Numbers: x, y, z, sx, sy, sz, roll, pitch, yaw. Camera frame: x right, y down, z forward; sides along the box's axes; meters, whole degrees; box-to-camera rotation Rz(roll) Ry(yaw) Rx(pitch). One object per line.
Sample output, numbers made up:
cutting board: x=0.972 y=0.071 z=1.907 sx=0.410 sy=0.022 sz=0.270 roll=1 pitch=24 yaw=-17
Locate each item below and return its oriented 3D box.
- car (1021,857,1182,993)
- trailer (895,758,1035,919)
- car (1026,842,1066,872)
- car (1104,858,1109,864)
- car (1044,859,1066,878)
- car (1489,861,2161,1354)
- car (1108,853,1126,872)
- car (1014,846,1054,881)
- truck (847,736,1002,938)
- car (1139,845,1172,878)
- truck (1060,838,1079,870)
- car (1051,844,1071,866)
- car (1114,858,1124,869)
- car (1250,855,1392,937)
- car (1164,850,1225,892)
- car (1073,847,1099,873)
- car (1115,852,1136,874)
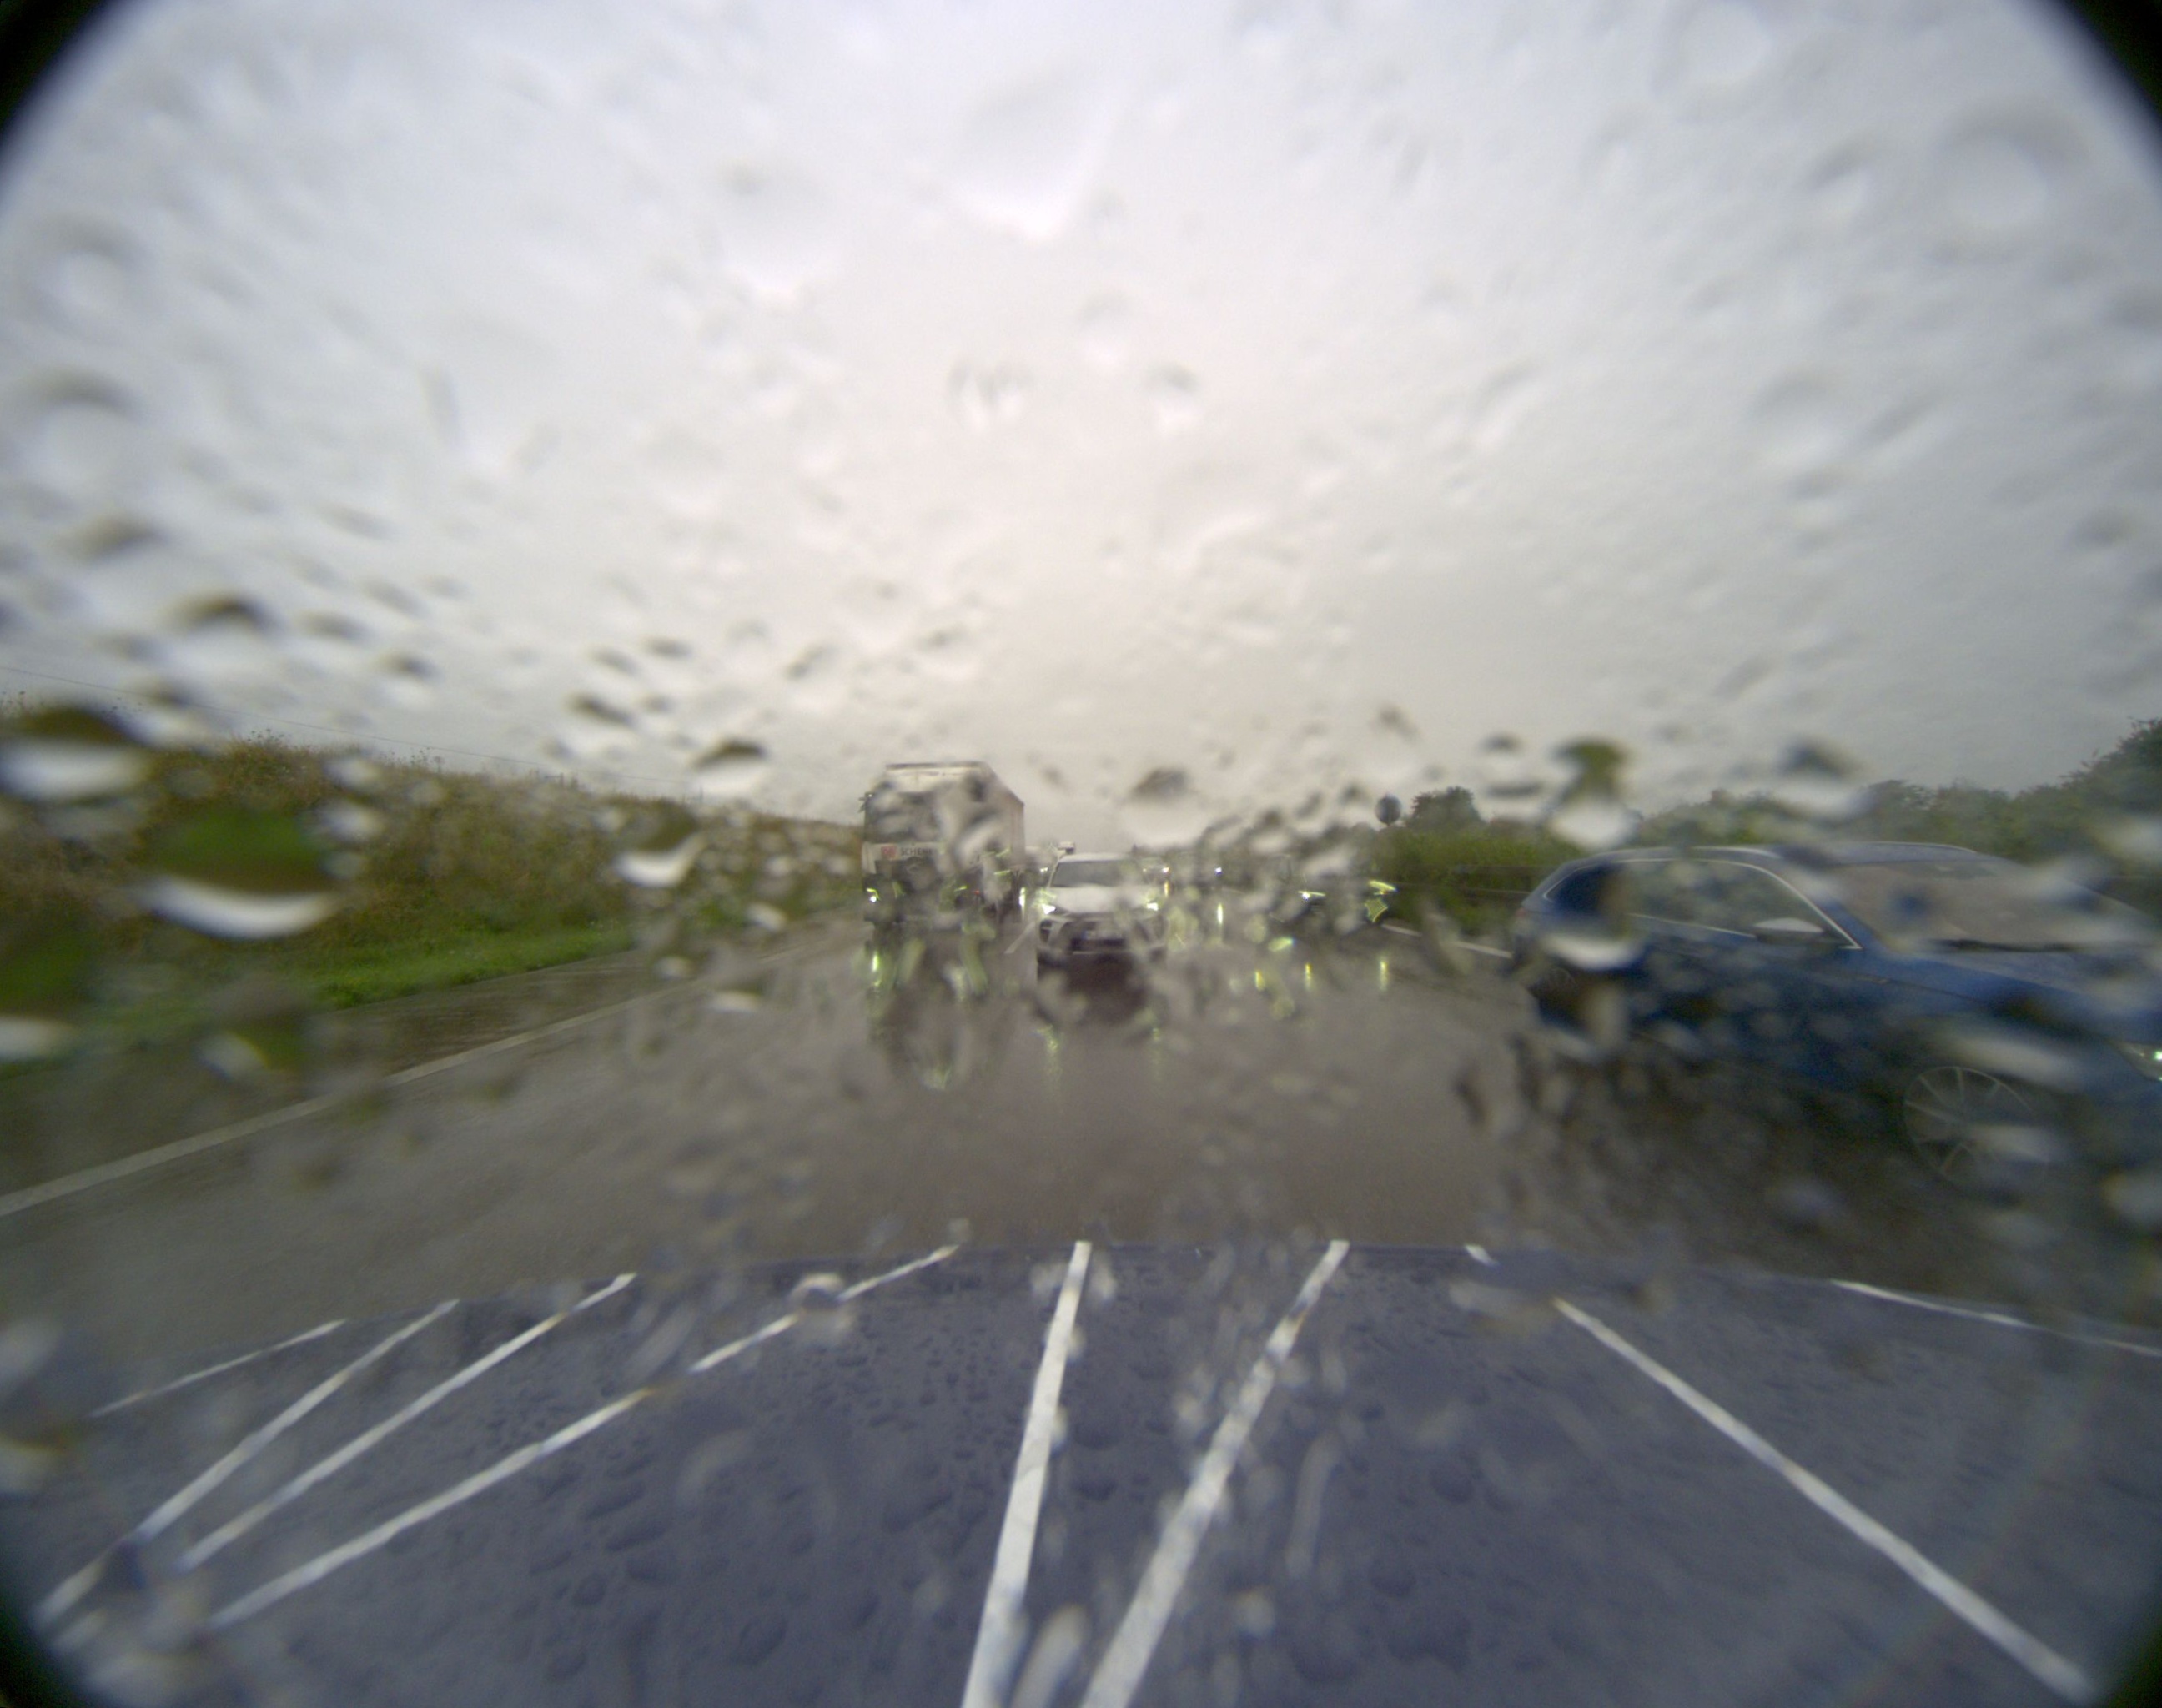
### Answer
car: x=0.265 y=0.865 z=11.209 sx=1.893 sy=1.578 sz=4.000 roll=-2 pitch=0 yaw=0
trailer: x=-3.531 y=-0.506 z=27.476 sx=2.633 sy=4.224 sz=14.174 roll=-2 pitch=1 yaw=0
car: x=-2.428 y=0.172 z=53.907 sx=2.260 sy=2.002 sz=4.269 roll=-2 pitch=1 yaw=3
car: x=6.688 y=1.740 z=199.273 sx=1.279 sy=1.567 sz=2.848 roll=-2 pitch=0 yaw=0
car: x=-2.583 y=1.405 z=77.093 sx=1.998 sy=1.805 sz=4.000 roll=-2 pitch=0 yaw=0
car: x=4.318 y=0.822 z=4.113 sx=1.791 sy=1.467 sz=4.512 roll=-2 pitch=0 yaw=0
car: x=4.004 y=0.908 z=84.239 sx=1.737 sy=2.002 sz=4.223 roll=-2 pitch=0 yaw=0
car: x=-2.856 y=0.513 z=47.267 sx=1.946 sy=2.002 sz=4.446 roll=-2 pitch=1 yaw=2
truck: x=-3.613 y=-0.388 z=18.800 sx=2.633 sy=4.229 sz=5.042 roll=-2 pitch=1 yaw=0
car: x=4.841 y=0.463 z=49.868 sx=1.888 sy=2.002 sz=4.270 roll=-2 pitch=0 yaw=3
truck: x=-1.653 y=-0.016 z=113.271 sx=2.628 sy=4.635 sz=4.290 roll=-2 pitch=0 yaw=1
car: x=-2.134 y=0.086 z=82.666 sx=1.998 sy=2.231 sz=4.000 roll=-2 pitch=0 yaw=0
car: x=6.010 y=1.488 z=120.351 sx=1.458 sy=1.540 sz=2.804 roll=0 pitch=2 yaw=1
car: x=4.870 y=0.764 z=16.049 sx=1.613 sy=1.428 sz=4.370 roll=-2 pitch=0 yaw=0
car: x=4.703 y=0.662 z=31.943 sx=1.889 sy=1.622 sz=4.269 roll=-2 pitch=0 yaw=0
car: x=0.434 y=0.484 z=62.093 sx=1.998 sy=2.002 sz=4.000 roll=-2 pitch=0 yaw=1
car: x=4.203 y=0.821 z=72.335 sx=1.737 sy=2.002 sz=4.223 roll=-2 pitch=0 yaw=0
